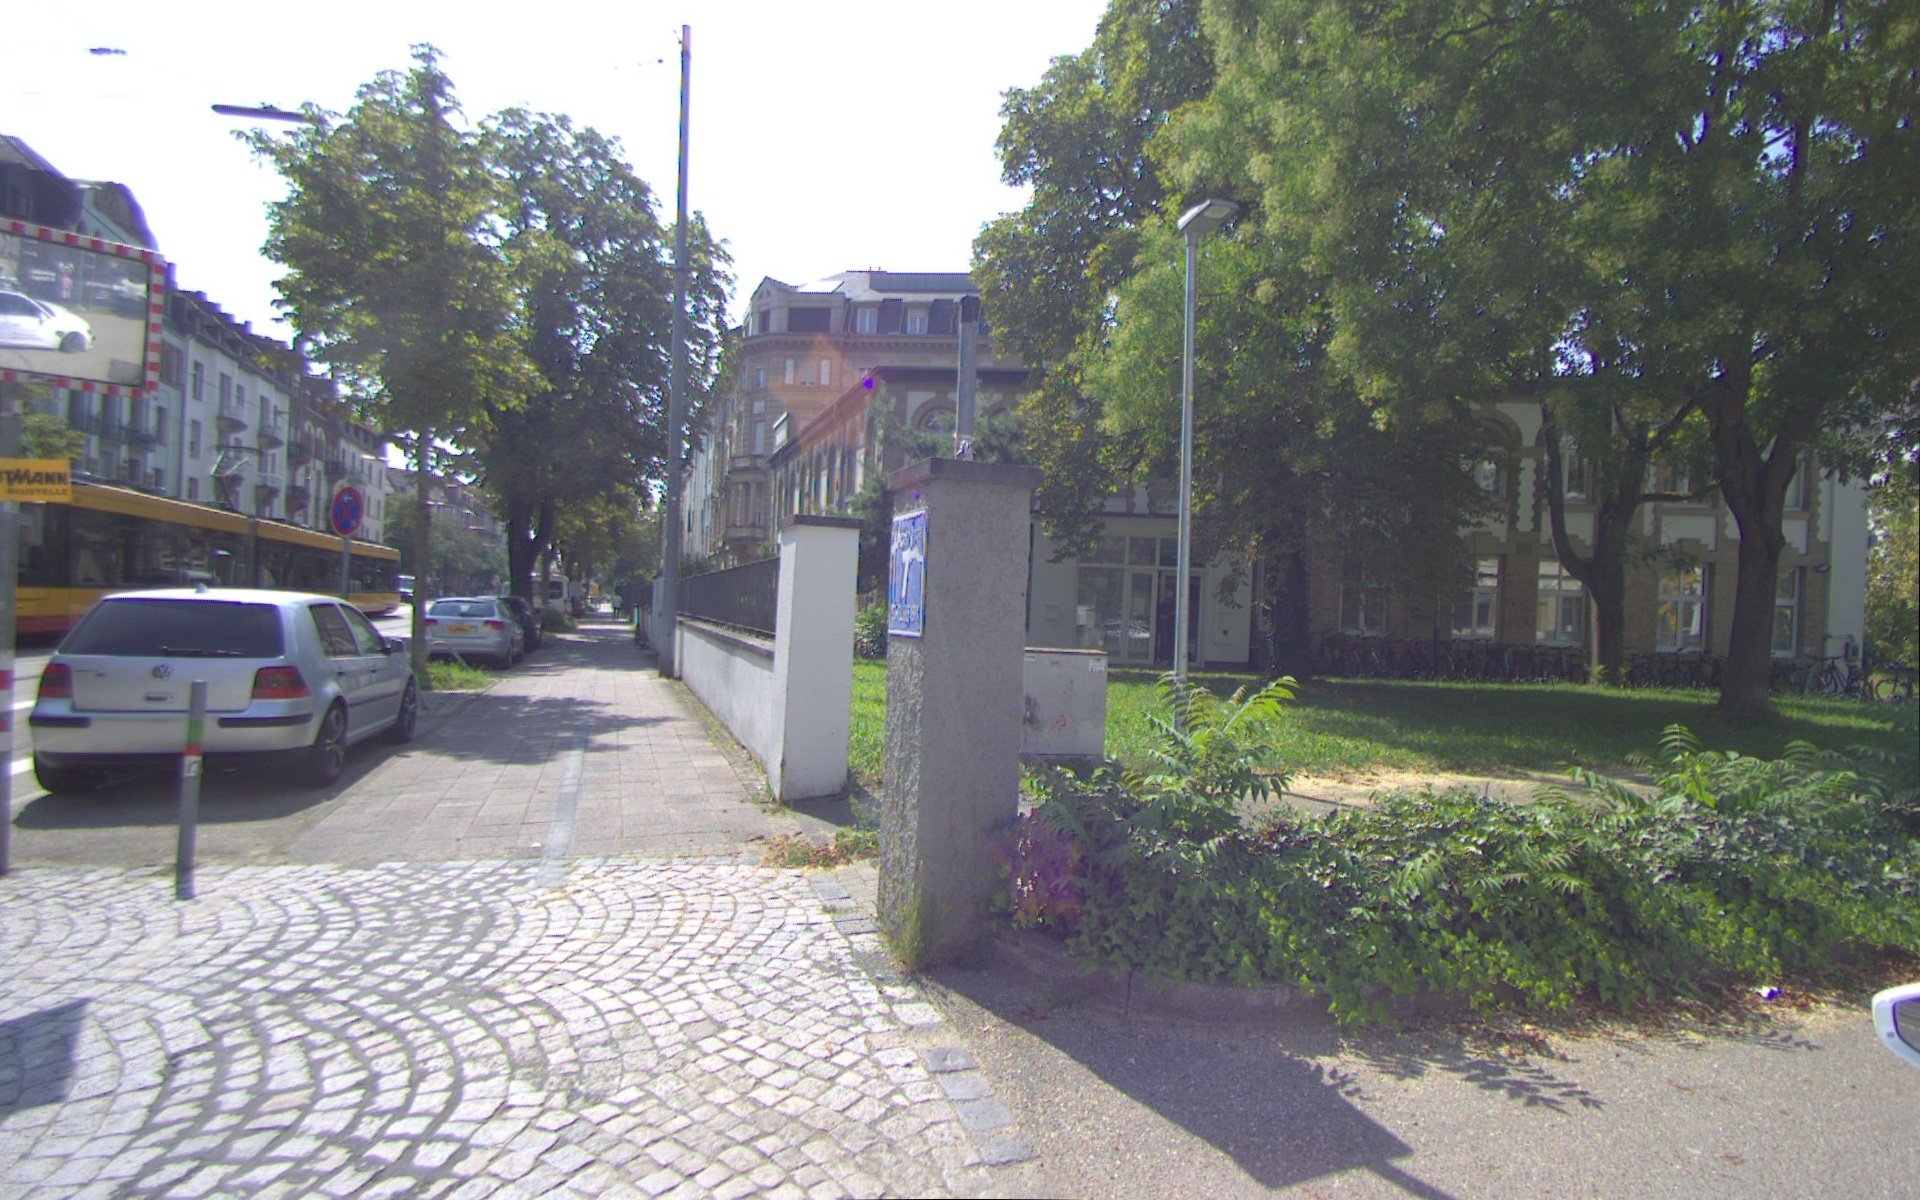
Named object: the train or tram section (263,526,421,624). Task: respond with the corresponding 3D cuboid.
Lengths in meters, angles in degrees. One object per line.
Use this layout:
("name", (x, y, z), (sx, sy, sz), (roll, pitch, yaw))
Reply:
("train or tram section", (-27.976, -1.024, 46.312), (3.455, 3.753, 12.357), (3, -1, -19))

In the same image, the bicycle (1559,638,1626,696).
("bicycle", (15.519, 1.613, 24.700), (0.597, 1.320, 2.175), (2, -1, 11))

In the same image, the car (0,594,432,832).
("car", (-5.713, 0.725, 8.184), (1.768, 1.465, 3.719), (2, -1, -17))

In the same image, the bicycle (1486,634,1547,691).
("bicycle", (13.739, 1.520, 24.847), (0.614, 1.320, 2.275), (2, -1, 11))

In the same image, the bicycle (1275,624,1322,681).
("bicycle", (8.475, 1.285, 25.227), (0.756, 1.320, 2.528), (3, -1, 11))

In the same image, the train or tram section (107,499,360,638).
("train or tram section", (-24.170, -0.895, 34.538), (3.455, 3.753, 12.357), (3, -1, -19))

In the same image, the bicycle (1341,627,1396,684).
("bicycle", (10.110, 1.349, 24.951), (0.756, 1.320, 2.528), (3, -1, 11))

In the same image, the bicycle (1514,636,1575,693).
("bicycle", (14.382, 1.553, 24.771), (0.597, 1.320, 2.175), (2, -1, 11))

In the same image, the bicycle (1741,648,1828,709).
("bicycle", (19.536, 1.820, 23.860), (0.597, 1.320, 2.175), (2, -1, 11))

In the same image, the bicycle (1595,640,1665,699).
("bicycle", (16.230, 1.646, 24.392), (0.597, 1.320, 2.175), (2, -1, 11))

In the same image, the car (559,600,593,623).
("car", (-25.299, 0.732, 66.073), (1.971, 1.416, 3.979), (3, -1, -22))

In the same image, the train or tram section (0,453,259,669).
("train or tram section", (-20.116, -0.808, 22.822), (3.455, 3.753, 12.357), (3, -1, -19))

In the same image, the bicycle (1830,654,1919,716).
("bicycle", (21.539, 1.966, 23.628), (0.597, 1.320, 2.175), (2, -1, 11))

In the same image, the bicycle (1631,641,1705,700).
("bicycle", (17.076, 1.677, 24.287), (0.597, 1.320, 2.175), (2, -1, 11))

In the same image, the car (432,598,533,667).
("car", (-12.351, 0.788, 26.213), (1.772, 1.598, 3.985), (3, -1, -17))

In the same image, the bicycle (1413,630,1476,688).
("bicycle", (12.041, 1.441, 25.047), (0.756, 1.320, 2.528), (3, -1, 11))

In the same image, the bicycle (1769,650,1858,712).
("bicycle", (20.213, 1.887, 23.847), (0.597, 1.320, 2.175), (2, -1, 11))

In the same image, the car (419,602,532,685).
("car", (-10.035, 0.859, 21.032), (1.621, 1.531, 3.625), (3, -1, -19))

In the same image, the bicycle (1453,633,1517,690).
("bicycle", (12.975, 1.495, 24.907), (0.756, 1.320, 2.275), (3, -1, 11))

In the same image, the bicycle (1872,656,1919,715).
("bicycle", (22.518, 2.014, 23.570), (0.597, 1.320, 2.175), (2, -1, 11))

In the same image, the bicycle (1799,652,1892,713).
("bicycle", (20.880, 1.918, 23.744), (0.597, 1.320, 2.175), (2, -1, 11))

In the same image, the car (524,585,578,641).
("car", (-19.197, 0.612, 47.291), (1.969, 2.396, 3.983), (3, -1, -19))

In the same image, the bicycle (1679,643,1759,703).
("bicycle", (18.137, 1.715, 24.064), (0.597, 1.320, 2.175), (2, -1, 11))

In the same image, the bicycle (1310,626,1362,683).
("bicycle", (9.307, 1.322, 24.936), (0.756, 1.320, 2.528), (3, -1, 11))

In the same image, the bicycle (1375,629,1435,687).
("bicycle", (11.003, 1.402, 24.917), (0.756, 1.320, 2.528), (3, -1, 11))

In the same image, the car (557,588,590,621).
("car", (-28.007, 0.325, 72.647), (1.973, 2.263, 3.976), (3, -1, -24))

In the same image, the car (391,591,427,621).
("car", (-48.730, 0.498, 88.930), (2.218, 2.473, 3.978), (3, -1, -23))

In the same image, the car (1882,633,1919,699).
("car", (30.650, 2.060, 29.251), (4.981, 1.906, 2.504), (2, -1, 10))

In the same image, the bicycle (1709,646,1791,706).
("bicycle", (18.896, 1.779, 24.080), (0.597, 1.320, 2.175), (2, -1, 11))
